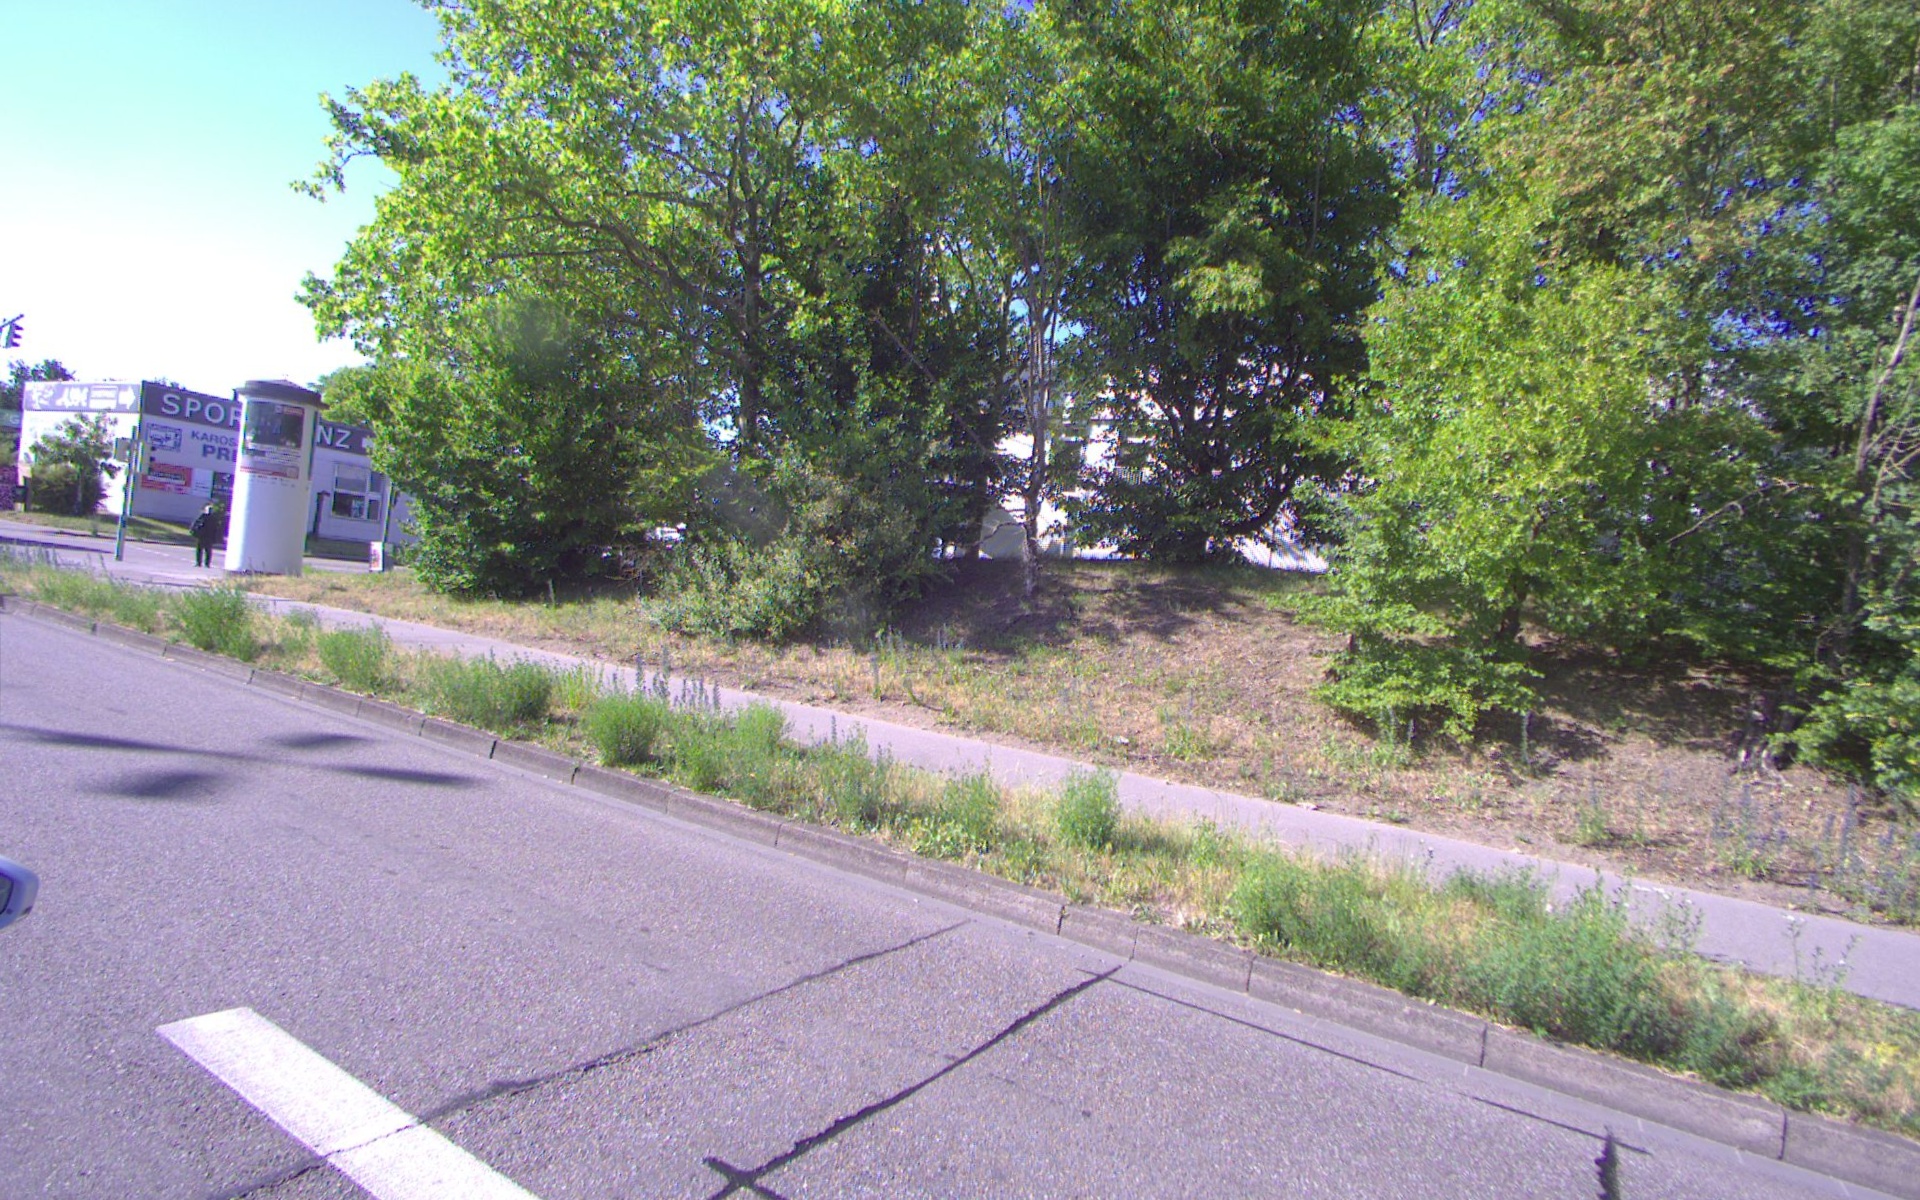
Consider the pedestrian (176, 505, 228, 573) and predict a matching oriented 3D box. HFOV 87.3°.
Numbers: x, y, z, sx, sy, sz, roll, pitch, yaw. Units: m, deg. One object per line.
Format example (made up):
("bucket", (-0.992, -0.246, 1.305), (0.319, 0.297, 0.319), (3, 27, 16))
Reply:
("pedestrian", (-21.102, -1.709, 28.000), (0.841, 1.743, 0.822), (7, 0, 39))
